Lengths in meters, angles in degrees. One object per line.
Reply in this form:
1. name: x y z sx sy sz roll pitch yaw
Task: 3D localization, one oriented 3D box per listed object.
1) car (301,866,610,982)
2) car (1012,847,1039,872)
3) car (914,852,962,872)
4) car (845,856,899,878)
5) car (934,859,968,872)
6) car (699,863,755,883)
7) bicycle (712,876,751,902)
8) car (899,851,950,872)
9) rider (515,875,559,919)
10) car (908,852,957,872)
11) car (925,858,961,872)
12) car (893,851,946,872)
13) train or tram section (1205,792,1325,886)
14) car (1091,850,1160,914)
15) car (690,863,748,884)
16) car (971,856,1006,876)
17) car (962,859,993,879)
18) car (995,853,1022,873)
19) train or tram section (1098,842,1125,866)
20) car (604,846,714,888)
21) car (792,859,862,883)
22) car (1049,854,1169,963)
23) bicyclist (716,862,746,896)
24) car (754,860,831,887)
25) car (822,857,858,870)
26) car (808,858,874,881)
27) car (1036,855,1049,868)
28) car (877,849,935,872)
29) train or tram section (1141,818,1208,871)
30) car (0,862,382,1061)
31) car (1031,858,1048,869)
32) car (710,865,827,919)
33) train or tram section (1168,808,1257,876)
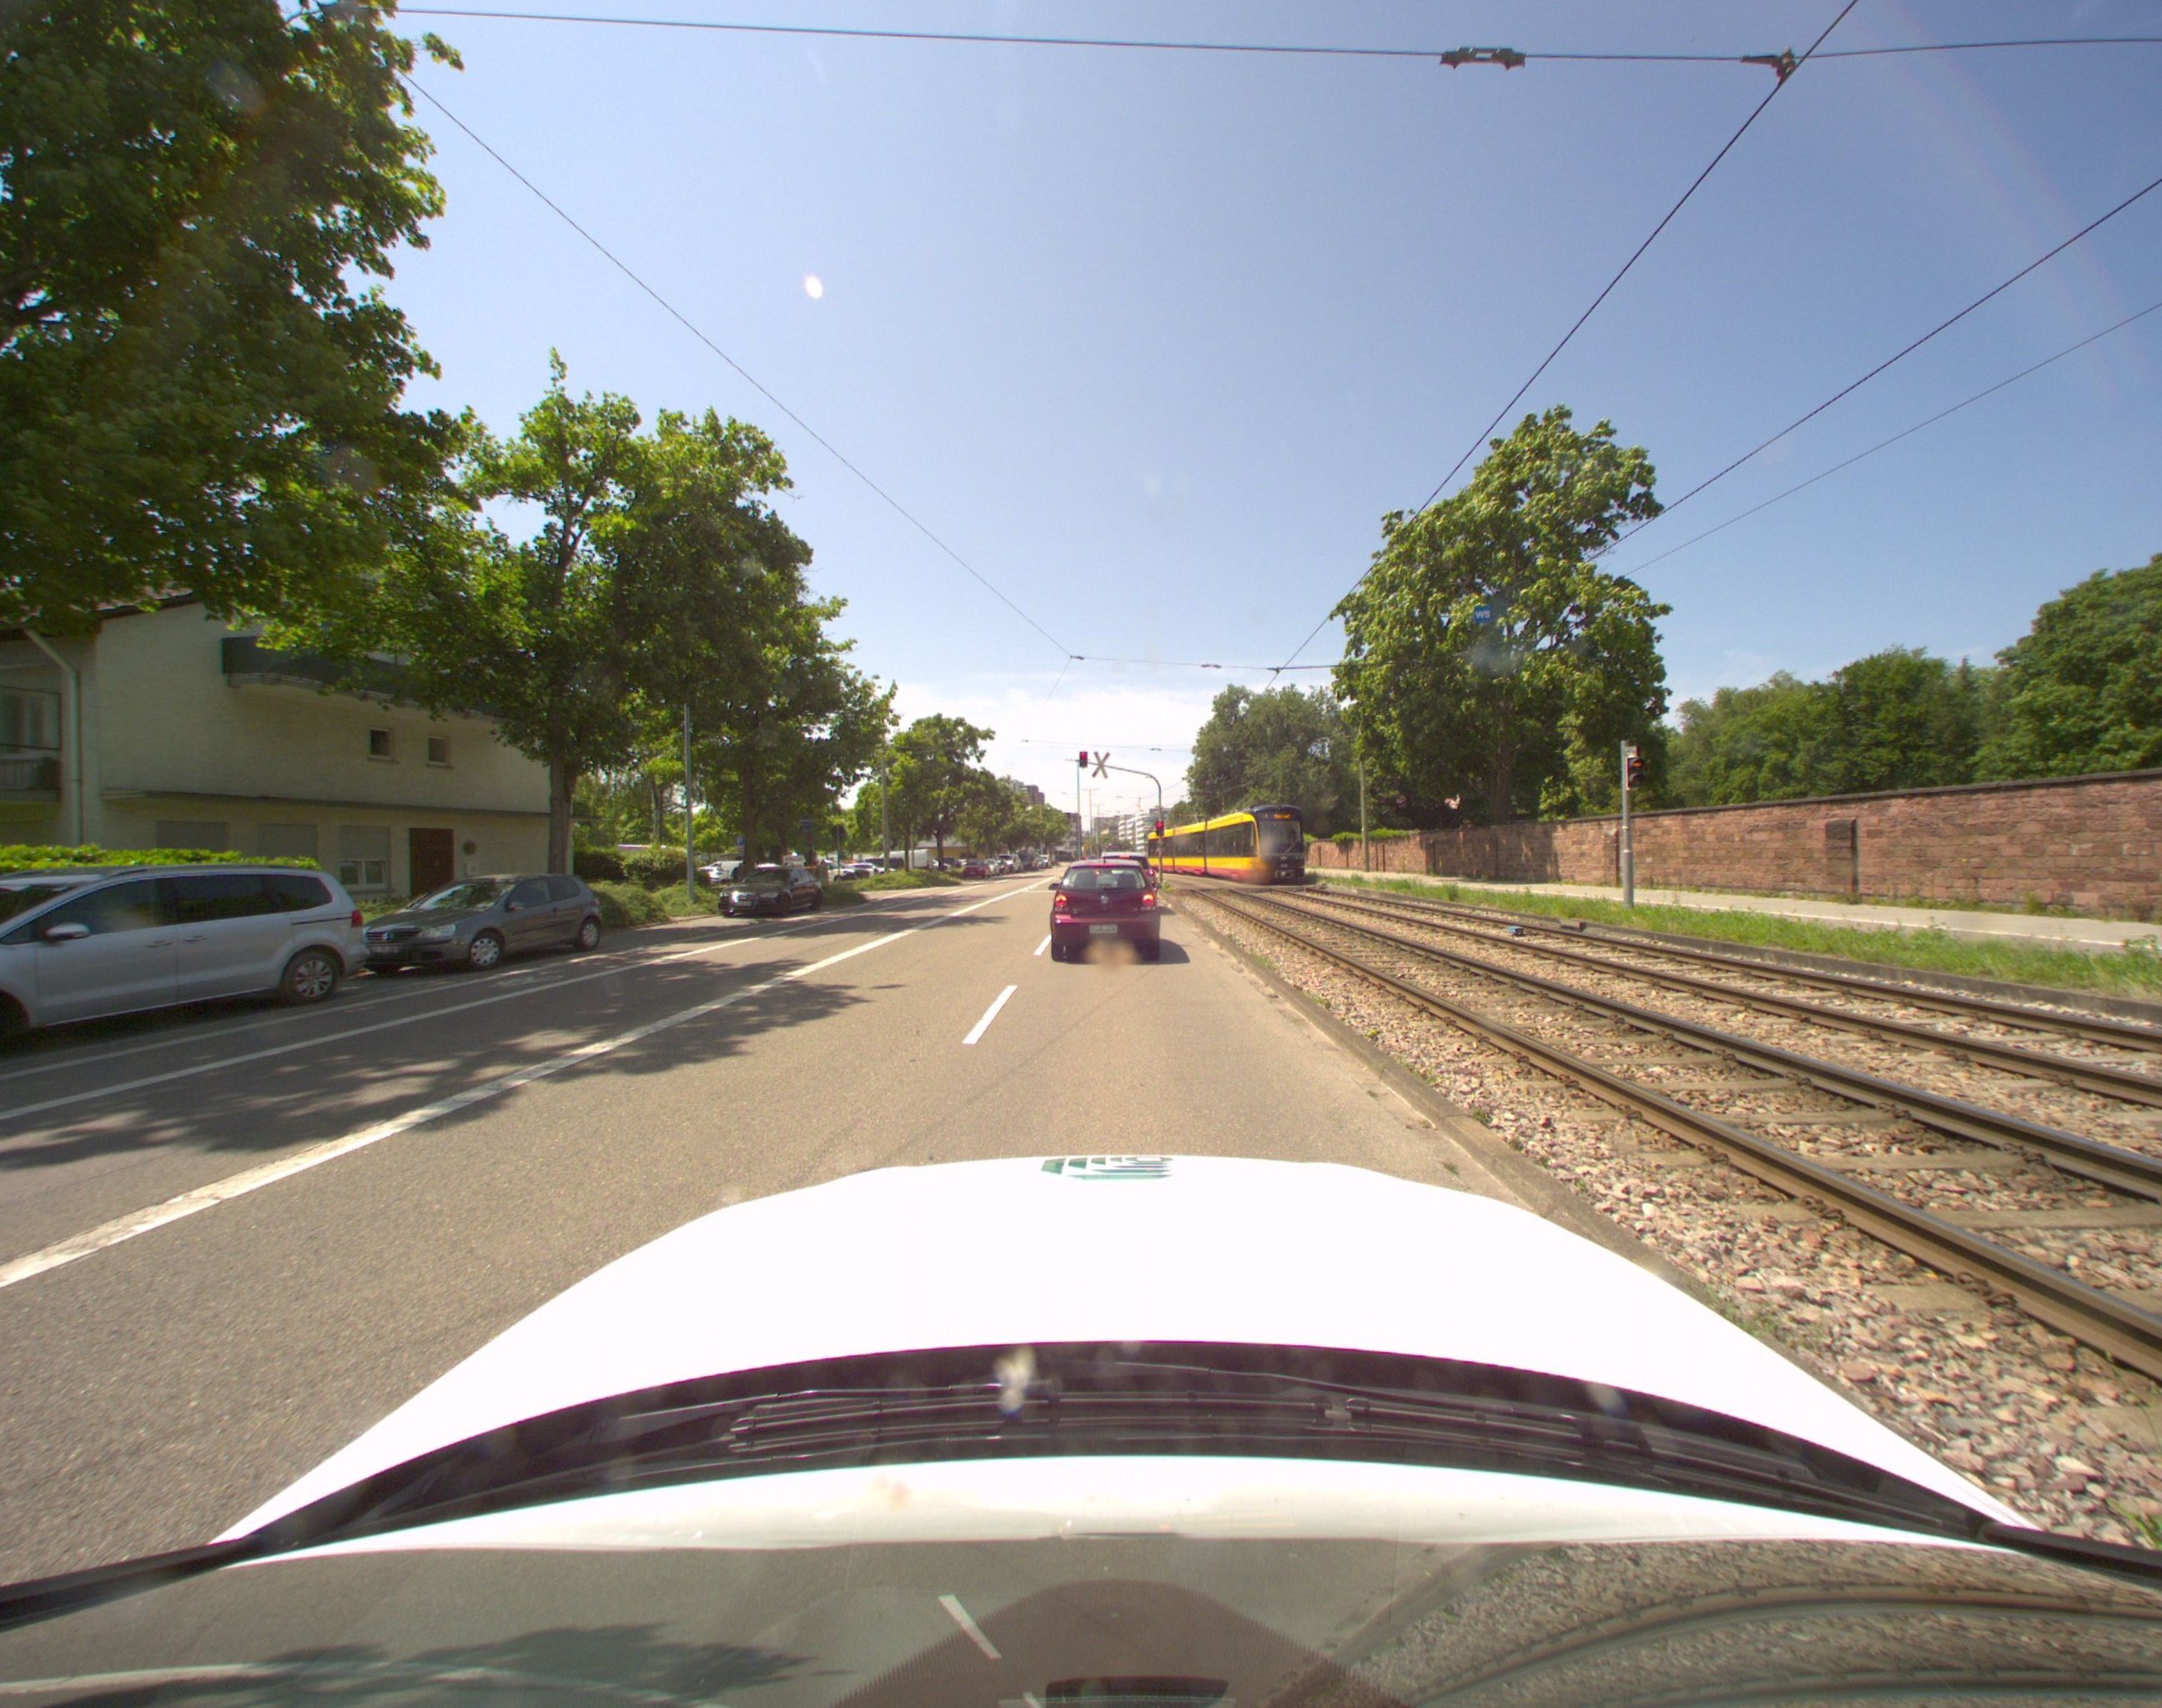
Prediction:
1. car: -10.021 1.014 13.553 1.812 1.564 4.182 0 0 1
2. car: -6.310 0.630 92.940 2.352 2.692 5.311 1 -1 3
3. car: -16.859 0.922 96.248 5.076 2.244 2.380 1 -1 3
4. car: -17.825 1.123 69.478 3.973 1.746 1.998 -2 0 0
5. car: -16.554 1.426 103.785 4.003 1.617 1.818 1 -1 3
6. car: -30.450 1.616 70.095 3.982 1.653 1.812 1 -1 -7
7. bicycle: -14.561 1.459 33.971 0.697 1.030 1.831 1 -1 5
8. car: -17.491 0.847 91.259 5.076 2.244 2.380 1 -1 3
9. rider: -17.671 1.387 26.453 0.820 1.374 0.814 -2 0 10
10. car: -17.049 0.886 93.720 5.076 2.244 2.380 1 -1 3
11. car: -17.009 1.379 100.719 4.003 1.617 1.818 1 -1 3
12. car: -17.447 0.804 88.066 5.076 2.244 2.380 1 -1 3
13. train or tram section: 8.563 -0.637 40.117 3.018 3.798 13.090 -1 0 1
14. car: 1.201 0.720 23.102 1.770 1.647 4.001 0 0 1
15. car: -30.064 1.589 67.738 3.982 1.653 1.812 1 -1 -7
16. car: -7.866 1.020 69.675 1.965 1.601 4.566 1 -1 7
17. car: -7.983 1.136 63.122 1.655 1.497 4.004 1 -1 4
18. car: -7.080 0.930 79.903 1.774 1.882 4.792 1 -1 5
19. train or tram section: 4.758 0.028 130.121 2.736 3.609 12.847 1 0 -5
20. car: -31.099 0.989 60.209 6.828 2.965 2.364 1 -1 0
21. car: -18.273 1.192 58.735 4.319 1.585 1.917 -2 0 7
22. car: 0.440 0.759 13.380 1.666 1.521 4.001 0 0 1
23. bicyclist: -14.565 1.033 33.911 0.805 1.374 0.829 1 -1 5
24. car: -19.017 1.270 53.806 4.329 1.585 1.912 -2 0 -1
25. car: -31.173 1.186 105.326 4.006 1.617 1.816 1 -1 0
26. car: -18.069 1.186 61.444 4.319 1.585 1.917 -2 0 8
27. car: -5.464 1.032 116.215 1.771 1.828 3.995 1 -1 -3
28. car: -17.152 0.634 80.029 5.076 2.244 2.380 1 -1 3
29. train or tram section: 7.313 -0.714 65.898 3.022 3.798 12.741 -2 0 -4
30. car: -10.246 0.965 8.377 1.866 1.664 4.783 -1 0 2
31. car: -5.612 1.265 110.532 1.606 1.441 4.006 1 -1 6
32. car: -9.566 1.105 25.382 1.812 1.476 4.450 0 0 1
33. train or tram section: 8.227 -0.680 53.083 3.021 3.798 13.076 -1 0 -3
